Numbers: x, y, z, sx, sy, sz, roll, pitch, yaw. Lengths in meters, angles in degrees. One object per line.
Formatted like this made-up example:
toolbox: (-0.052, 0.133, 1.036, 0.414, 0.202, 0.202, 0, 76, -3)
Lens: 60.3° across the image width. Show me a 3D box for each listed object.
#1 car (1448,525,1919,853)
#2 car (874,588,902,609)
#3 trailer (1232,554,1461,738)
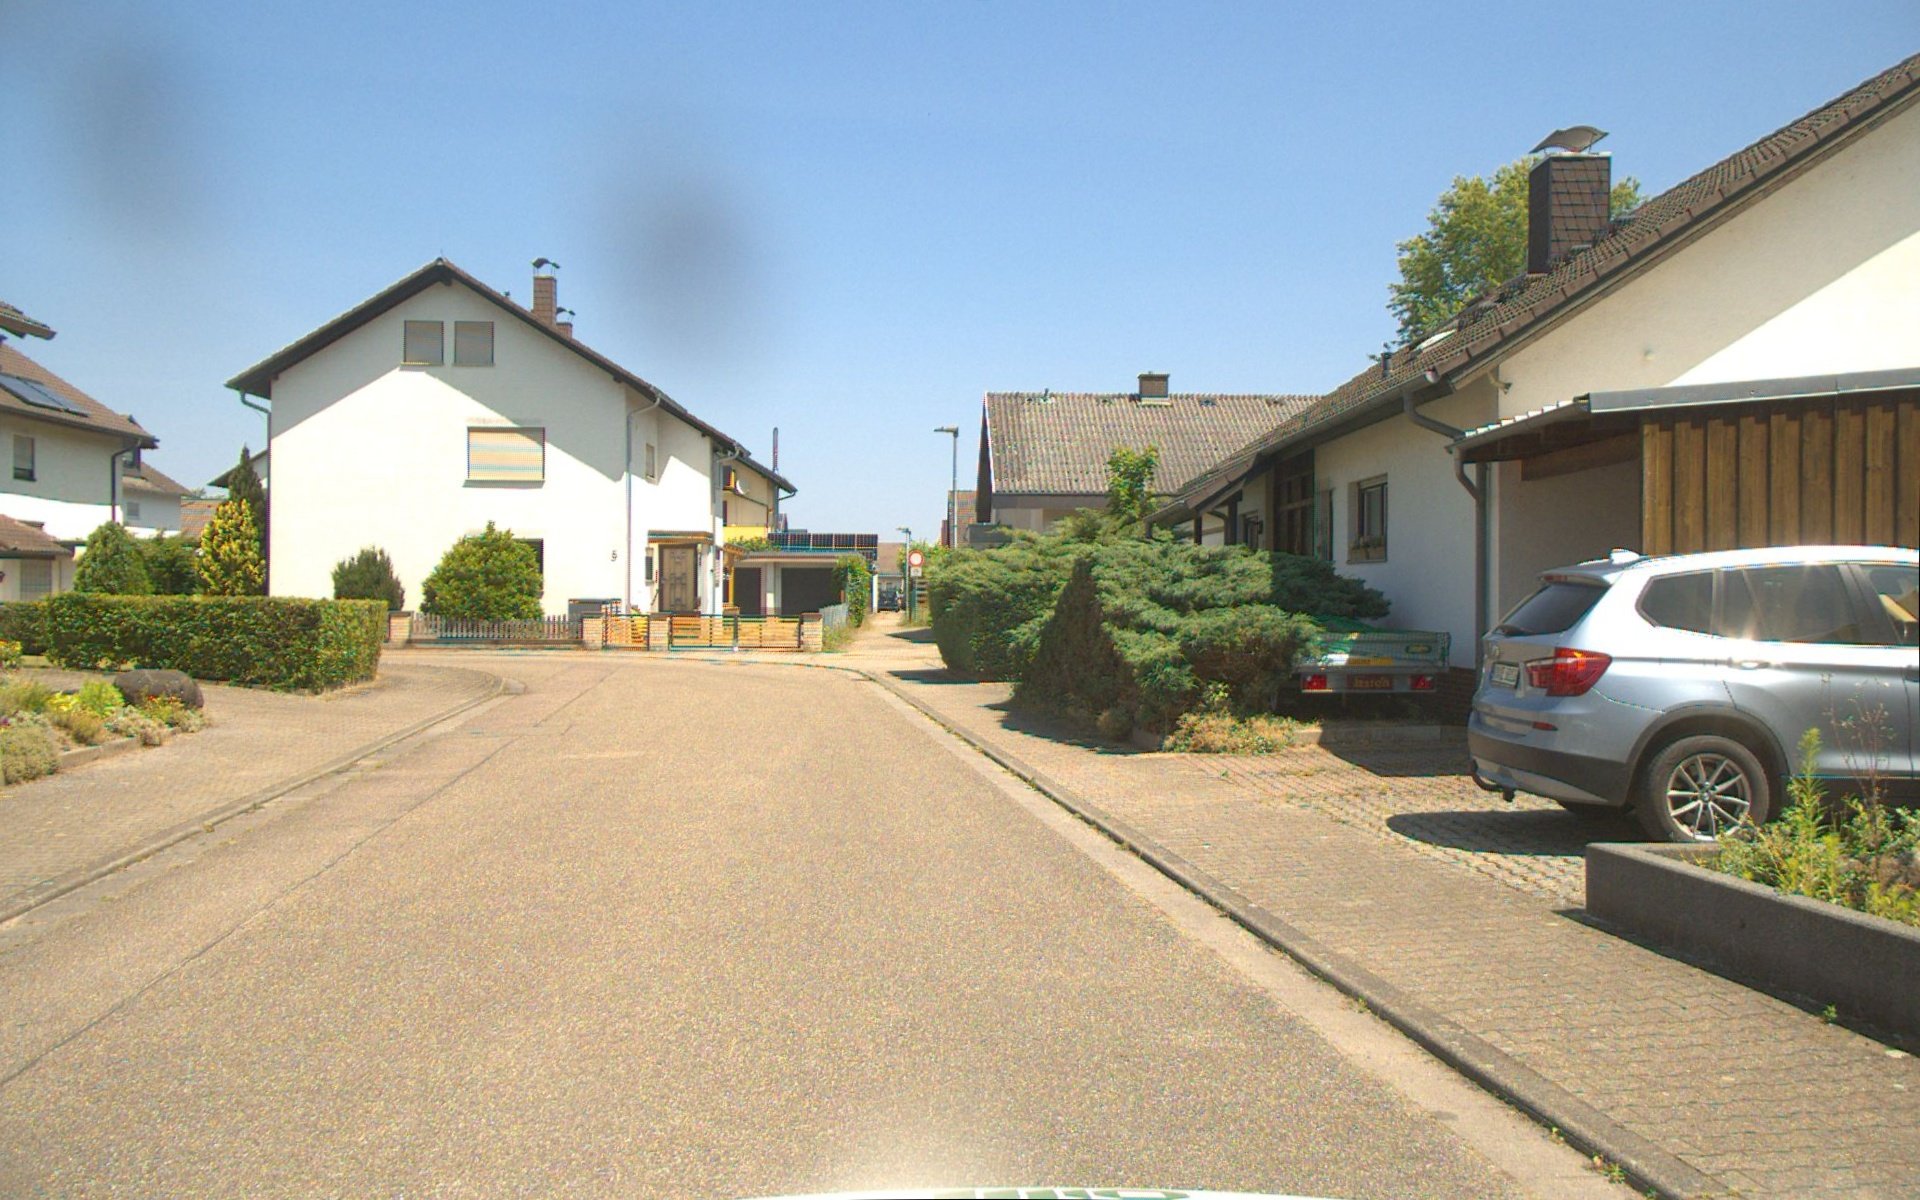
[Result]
car: (5.431, 0.450, 9.847, 4.531, 1.732, 1.710, -2, 0, 1)
car: (-5.862, -0.118, 135.190, 2.149, 1.731, 3.806, 0, 0, -1)
trailer: (3.953, 0.411, 17.391, 1.555, 1.701, 3.296, -2, 1, -1)
